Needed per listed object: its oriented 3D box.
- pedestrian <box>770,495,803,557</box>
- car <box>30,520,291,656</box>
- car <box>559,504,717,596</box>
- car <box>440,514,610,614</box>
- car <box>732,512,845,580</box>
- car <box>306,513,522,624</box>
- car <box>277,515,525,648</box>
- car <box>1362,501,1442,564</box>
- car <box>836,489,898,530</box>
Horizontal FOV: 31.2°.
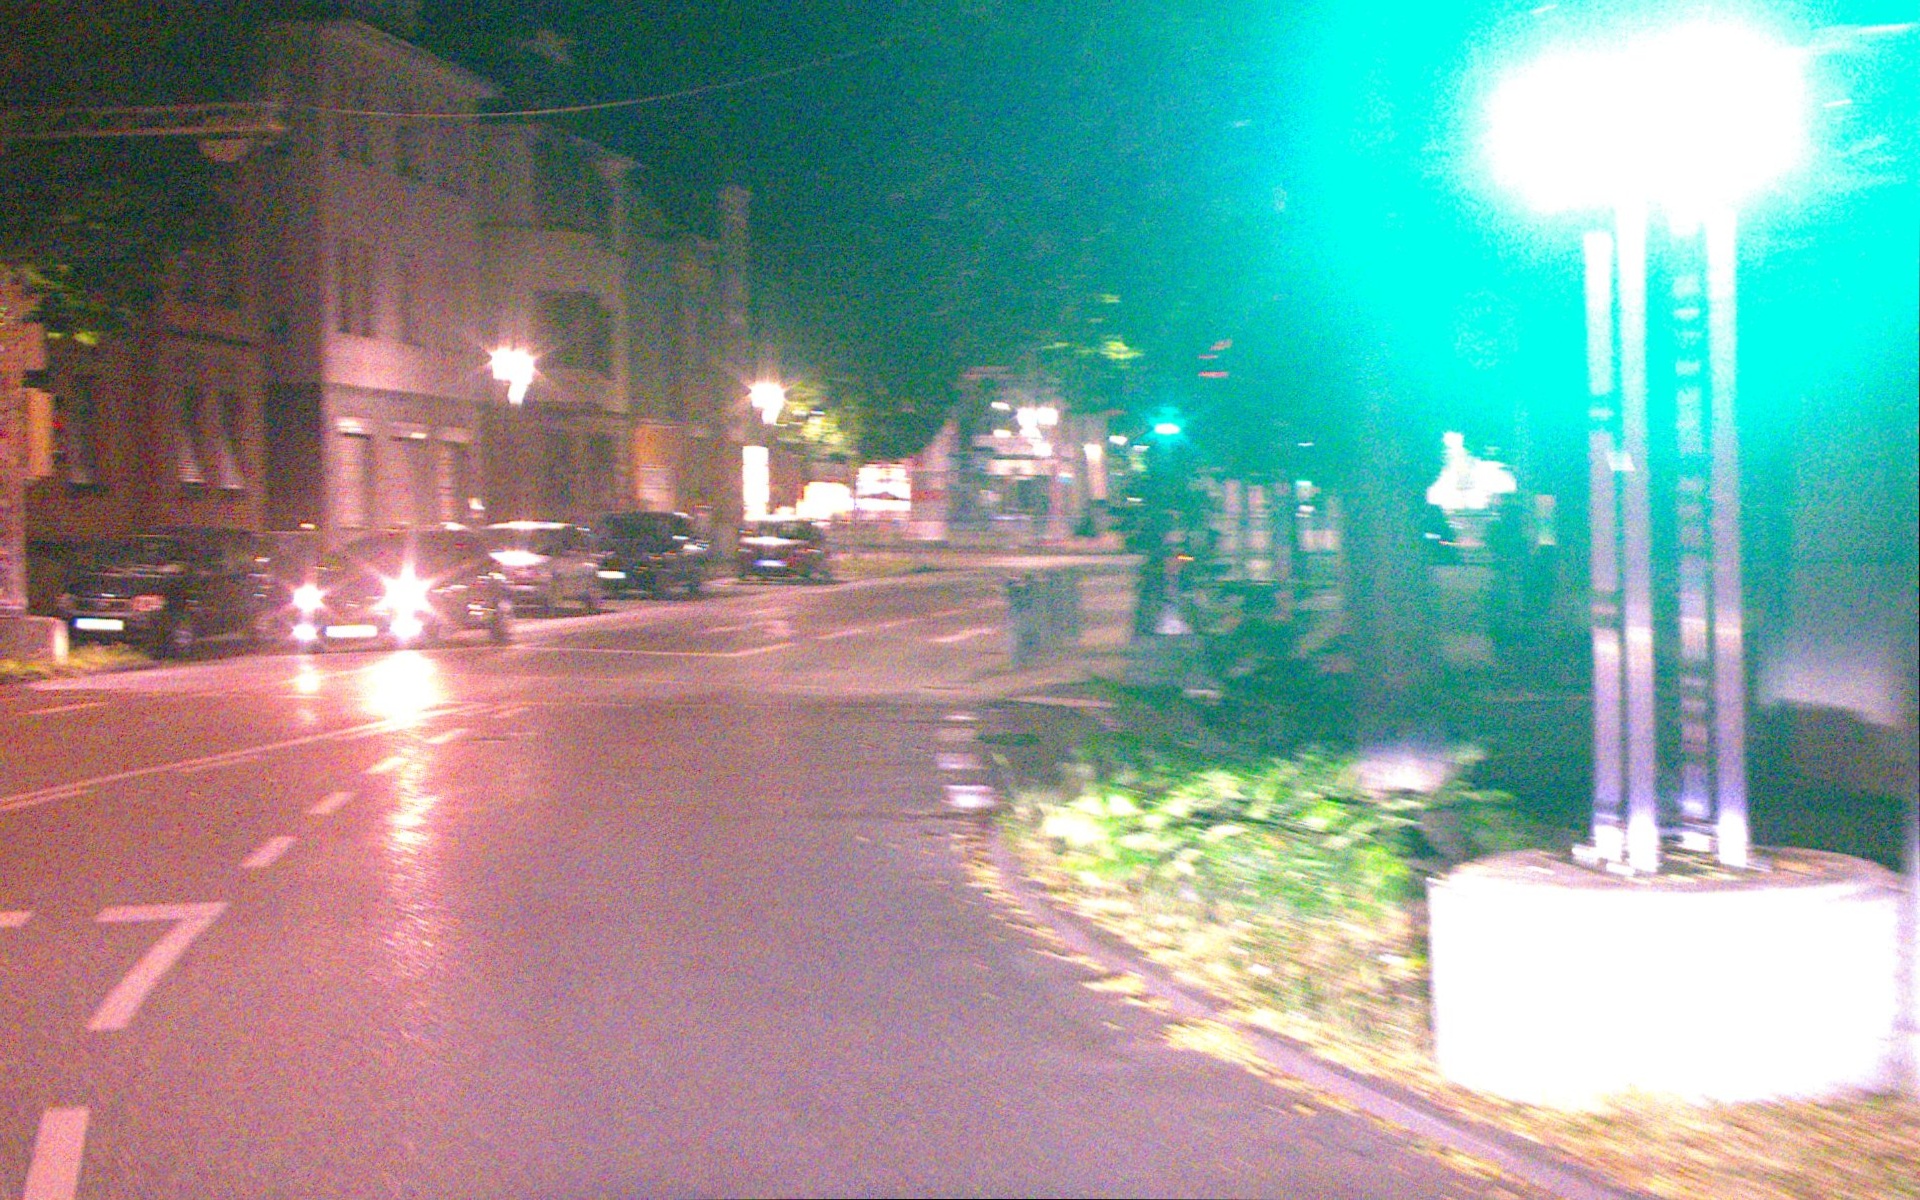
[{"bbox_3d":[-5.170,-2.199,102.451,0.723,1.815,0.692,0,1,-37],"label":"pedestrian"},{"bbox_3d":[-9.734,-0.185,42.113,1.593,1.486,3.697,2,2,13],"label":"car"},{"bbox_3d":[-5.993,-0.964,64.515,1.785,1.576,4.410,2,2,10],"label":"car"},{"bbox_3d":[-7.106,-0.622,56.581,1.785,1.486,3.999,2,2,7],"label":"car"},{"bbox_3d":[-3.811,-1.240,76.989,1.785,1.410,4.126,1,2,8],"label":"car"},{"bbox_3d":[-8.086,-0.510,51.306,1.785,1.486,4.328,2,2,11],"label":"car"},{"bbox_3d":[-6.718,-0.259,41.734,1.716,1.424,3.999,-2,2,10],"label":"car"},{"bbox_3d":[10.704,-1.661,83.472,1.734,1.454,4.727,0,2,5],"label":"car"},{"bbox_3d":[-3.751,-3.683,139.097,1.994,1.568,4.328,-1,2,5],"label":"car"}]
